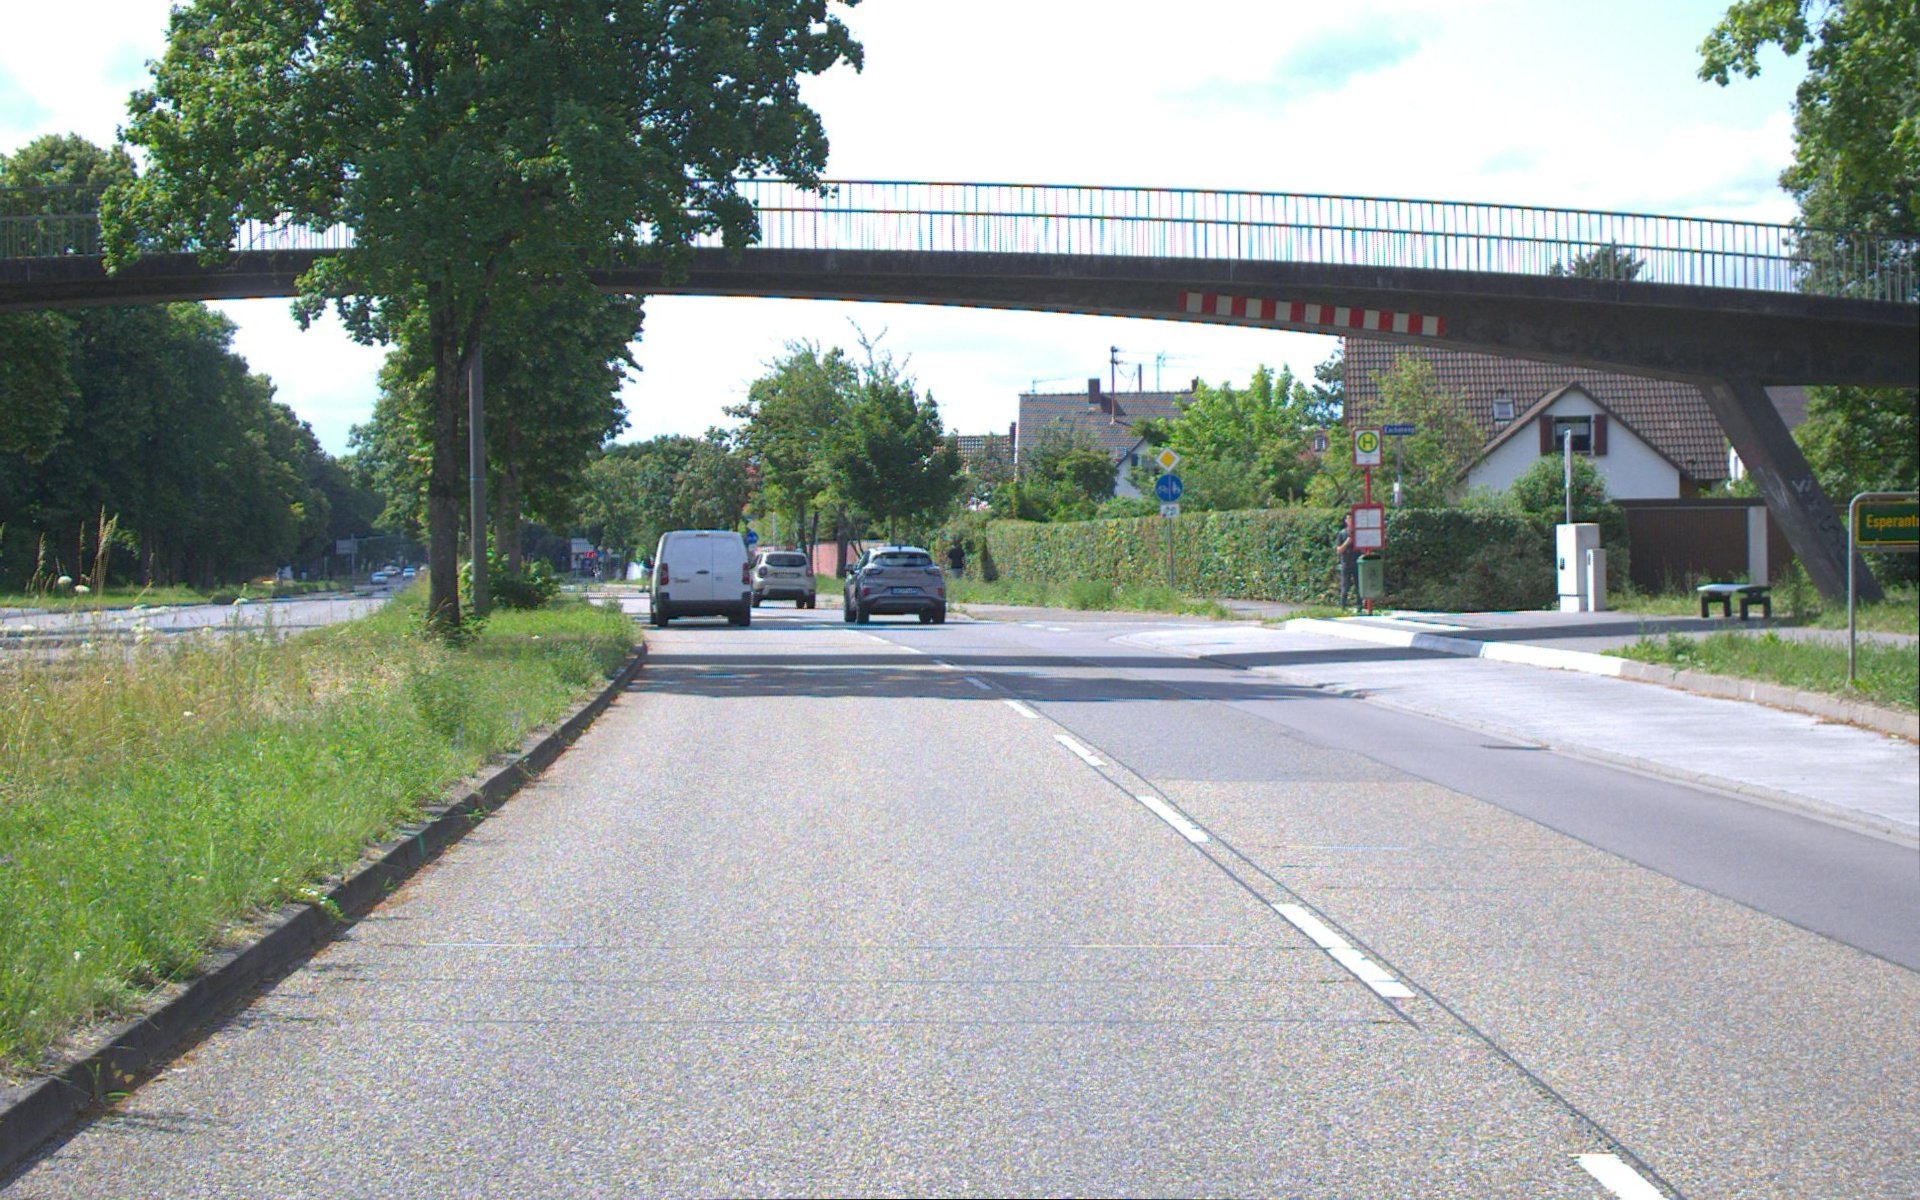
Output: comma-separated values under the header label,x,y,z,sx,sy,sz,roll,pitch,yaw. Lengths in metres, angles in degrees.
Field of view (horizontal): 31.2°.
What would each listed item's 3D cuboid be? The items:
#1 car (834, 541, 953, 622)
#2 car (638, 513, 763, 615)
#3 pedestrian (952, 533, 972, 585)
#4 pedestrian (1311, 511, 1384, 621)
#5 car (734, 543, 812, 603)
label,x,y,z,sx,sy,sz,roll,pitch,yaw
car,-1.375,-0.380,69.496,1.875,1.583,4.185,-1,1,-8
car,-5.051,-0.704,66.406,2.065,1.905,4.647,0,1,-9
pedestrian,0.072,-1.326,111.402,0.560,1.671,0.634,0,1,-9
pedestrian,6.628,-0.578,58.884,0.954,1.818,1.088,-2,-1,-5
car,-5.368,-0.774,98.221,1.875,1.646,4.001,-1,1,-8
